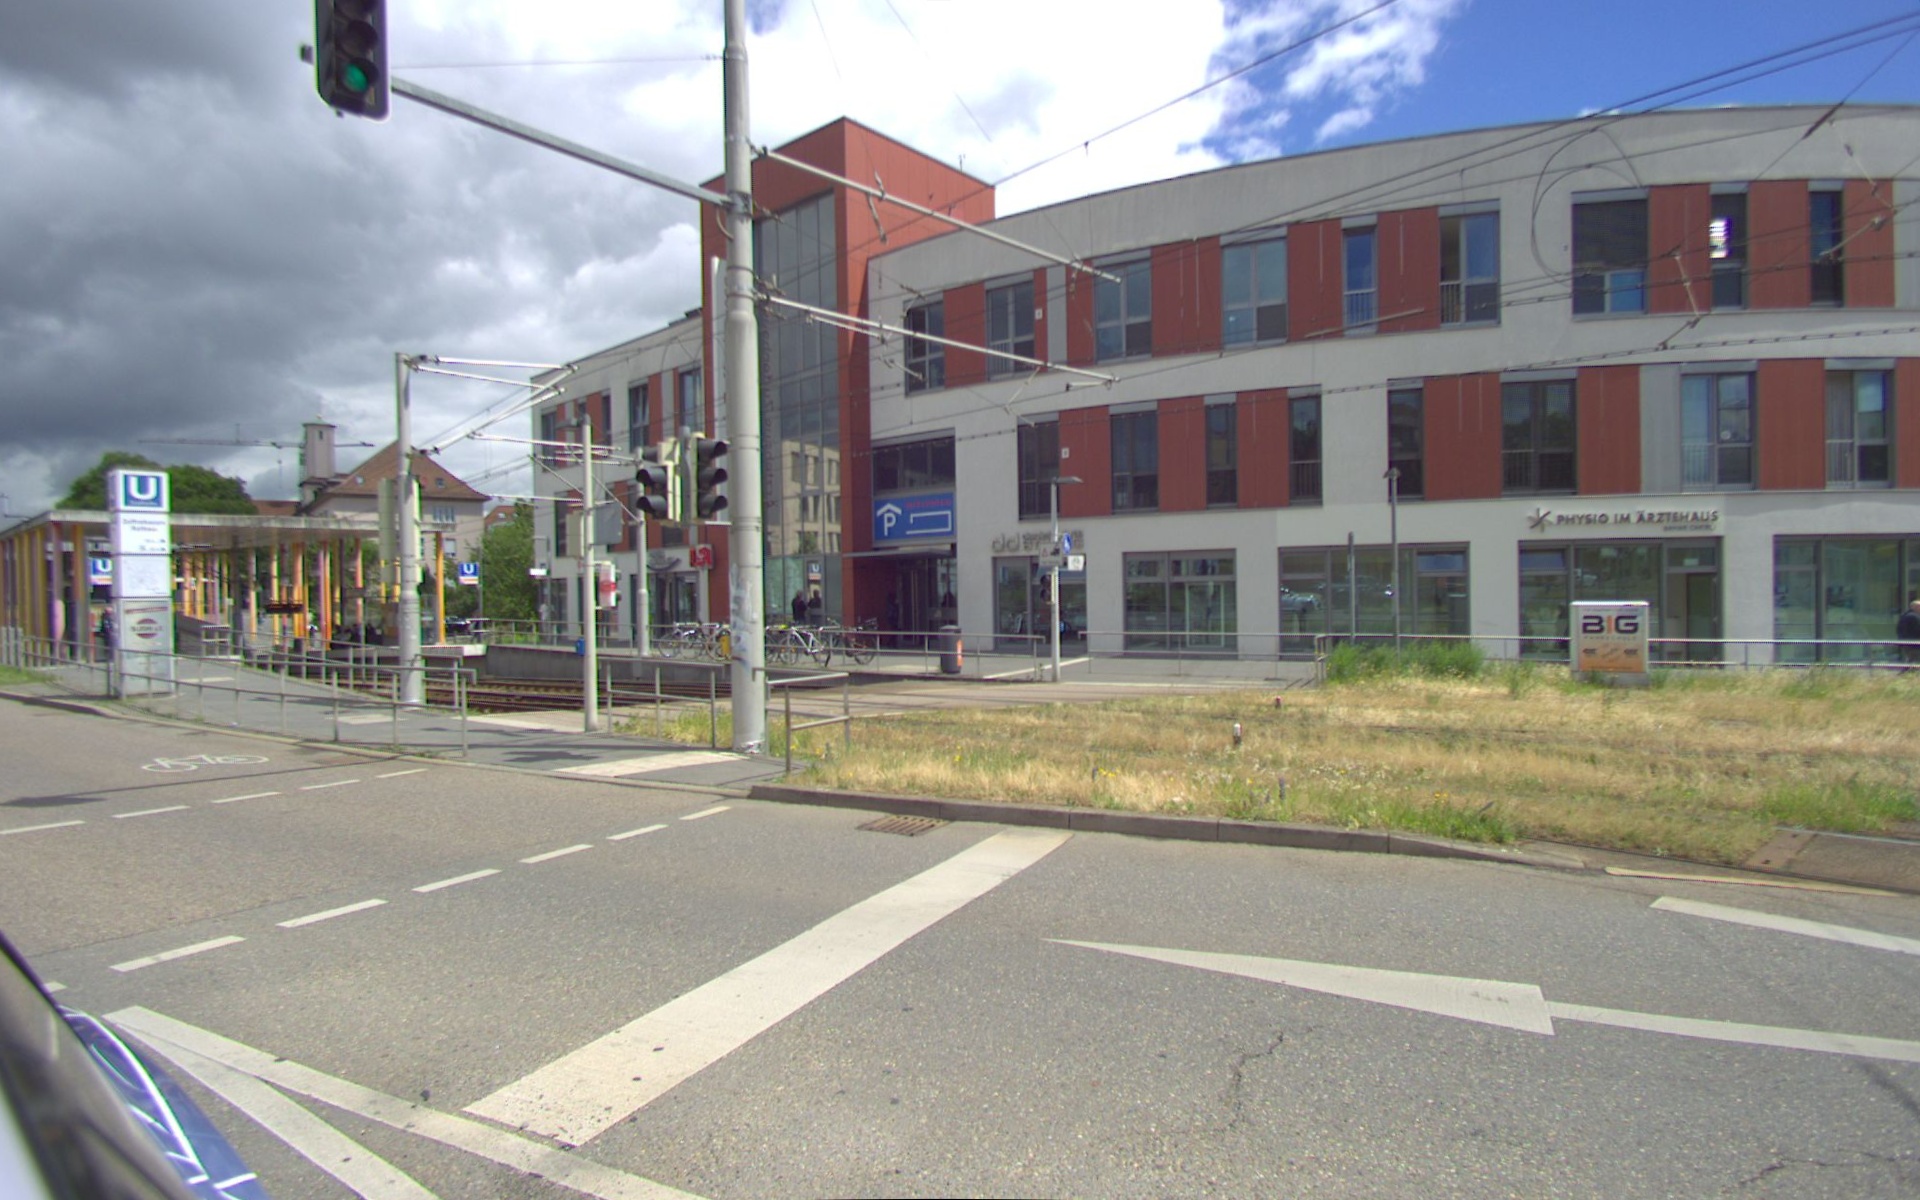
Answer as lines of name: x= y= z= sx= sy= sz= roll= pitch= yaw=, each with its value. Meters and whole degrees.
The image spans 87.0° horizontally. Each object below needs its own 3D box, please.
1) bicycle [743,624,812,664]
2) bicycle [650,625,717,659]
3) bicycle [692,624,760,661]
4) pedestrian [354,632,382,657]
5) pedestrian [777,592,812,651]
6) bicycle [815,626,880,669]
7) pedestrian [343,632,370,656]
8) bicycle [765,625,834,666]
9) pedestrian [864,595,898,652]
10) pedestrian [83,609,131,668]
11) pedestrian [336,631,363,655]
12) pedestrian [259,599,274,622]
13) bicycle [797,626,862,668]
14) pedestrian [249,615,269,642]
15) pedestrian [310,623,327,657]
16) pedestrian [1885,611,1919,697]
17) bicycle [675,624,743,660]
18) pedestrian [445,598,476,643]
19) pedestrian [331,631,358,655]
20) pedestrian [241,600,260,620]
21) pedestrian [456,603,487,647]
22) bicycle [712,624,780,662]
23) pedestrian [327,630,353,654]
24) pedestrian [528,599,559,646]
bicycle: x=-4.732 y=1.128 z=26.338 sx=0.454 sy=0.970 sz=1.837 roll=-1 pitch=0 yaw=43
bicycle: x=-7.869 y=1.192 z=28.832 sx=1.834 sy=0.888 sz=0.455 roll=0 pitch=0 yaw=-41
bicycle: x=-6.363 y=1.152 z=27.585 sx=1.835 sy=0.929 sz=0.455 roll=0 pitch=0 yaw=-42
pedestrian: x=-28.542 y=2.132 z=48.795 sx=0.886 sy=1.143 sz=0.931 roll=-2 pitch=-1 yaw=42
pedestrian: x=-5.305 y=0.666 z=32.483 sx=0.856 sy=1.859 sz=0.876 roll=0 pitch=1 yaw=13
bicycle: x=-2.730 y=1.140 z=24.673 sx=0.428 sy=0.959 sz=1.716 roll=-1 pitch=0 yaw=43
pedestrian: x=-29.391 y=2.132 z=49.269 sx=0.886 sy=1.143 sz=0.931 roll=-2 pitch=-1 yaw=42
bicycle: x=-4.049 y=1.139 z=25.703 sx=0.454 sy=0.942 sz=1.837 roll=-1 pitch=0 yaw=43
pedestrian: x=-2.413 y=0.708 z=30.870 sx=0.920 sy=1.711 sz=0.791 roll=1 pitch=-1 yaw=-13
pedestrian: x=-28.262 y=1.260 z=33.539 sx=0.864 sy=1.929 sz=1.090 roll=0 pitch=-1 yaw=42
pedestrian: x=-30.108 y=2.134 z=49.905 sx=0.886 sy=1.143 sz=0.931 roll=-2 pitch=-1 yaw=42
pedestrian: x=-62.930 y=0.971 z=91.814 sx=1.108 sy=2.029 sz=1.664 roll=0 pitch=-1 yaw=-36
bicycle: x=-3.218 y=1.139 z=25.076 sx=0.428 sy=0.965 sz=1.716 roll=-1 pitch=0 yaw=43
pedestrian: x=-53.459 y=2.157 z=77.177 sx=1.112 sy=2.029 sz=1.180 roll=0 pitch=-2 yaw=-44
pedestrian: x=-38.739 y=2.422 z=61.115 sx=0.773 sy=2.029 sz=0.610 roll=-2 pitch=-1 yaw=34
pedestrian: x=18.107 y=0.998 z=19.055 sx=0.682 sy=1.592 sz=0.734 roll=-1 pitch=-1 yaw=5
bicycle: x=-6.976 y=1.155 z=28.144 sx=1.835 sy=0.939 sz=0.455 roll=0 pitch=0 yaw=-41
pedestrian: x=-22.489 y=0.920 z=45.561 sx=1.105 sy=1.983 sz=0.853 roll=0 pitch=-1 yaw=39
pedestrian: x=-30.798 y=2.138 z=50.623 sx=0.886 sy=1.143 sz=0.931 roll=-2 pitch=-1 yaw=42
pedestrian: x=-71.283 y=1.001 z=101.687 sx=1.429 sy=2.029 sz=1.972 roll=1 pitch=-1 yaw=-31
pedestrian: x=-22.192 y=1.124 z=45.948 sx=1.105 sy=1.983 sz=0.853 roll=0 pitch=-1 yaw=39
bicycle: x=-5.691 y=1.139 z=26.986 sx=1.836 sy=0.946 sz=0.455 roll=0 pitch=0 yaw=-45
pedestrian: x=-31.425 y=2.126 z=51.296 sx=0.886 sy=1.143 sz=0.931 roll=-2 pitch=-1 yaw=42
pedestrian: x=-17.903 y=0.961 z=43.504 sx=1.106 sy=1.983 sz=0.852 roll=0 pitch=-1 yaw=43
